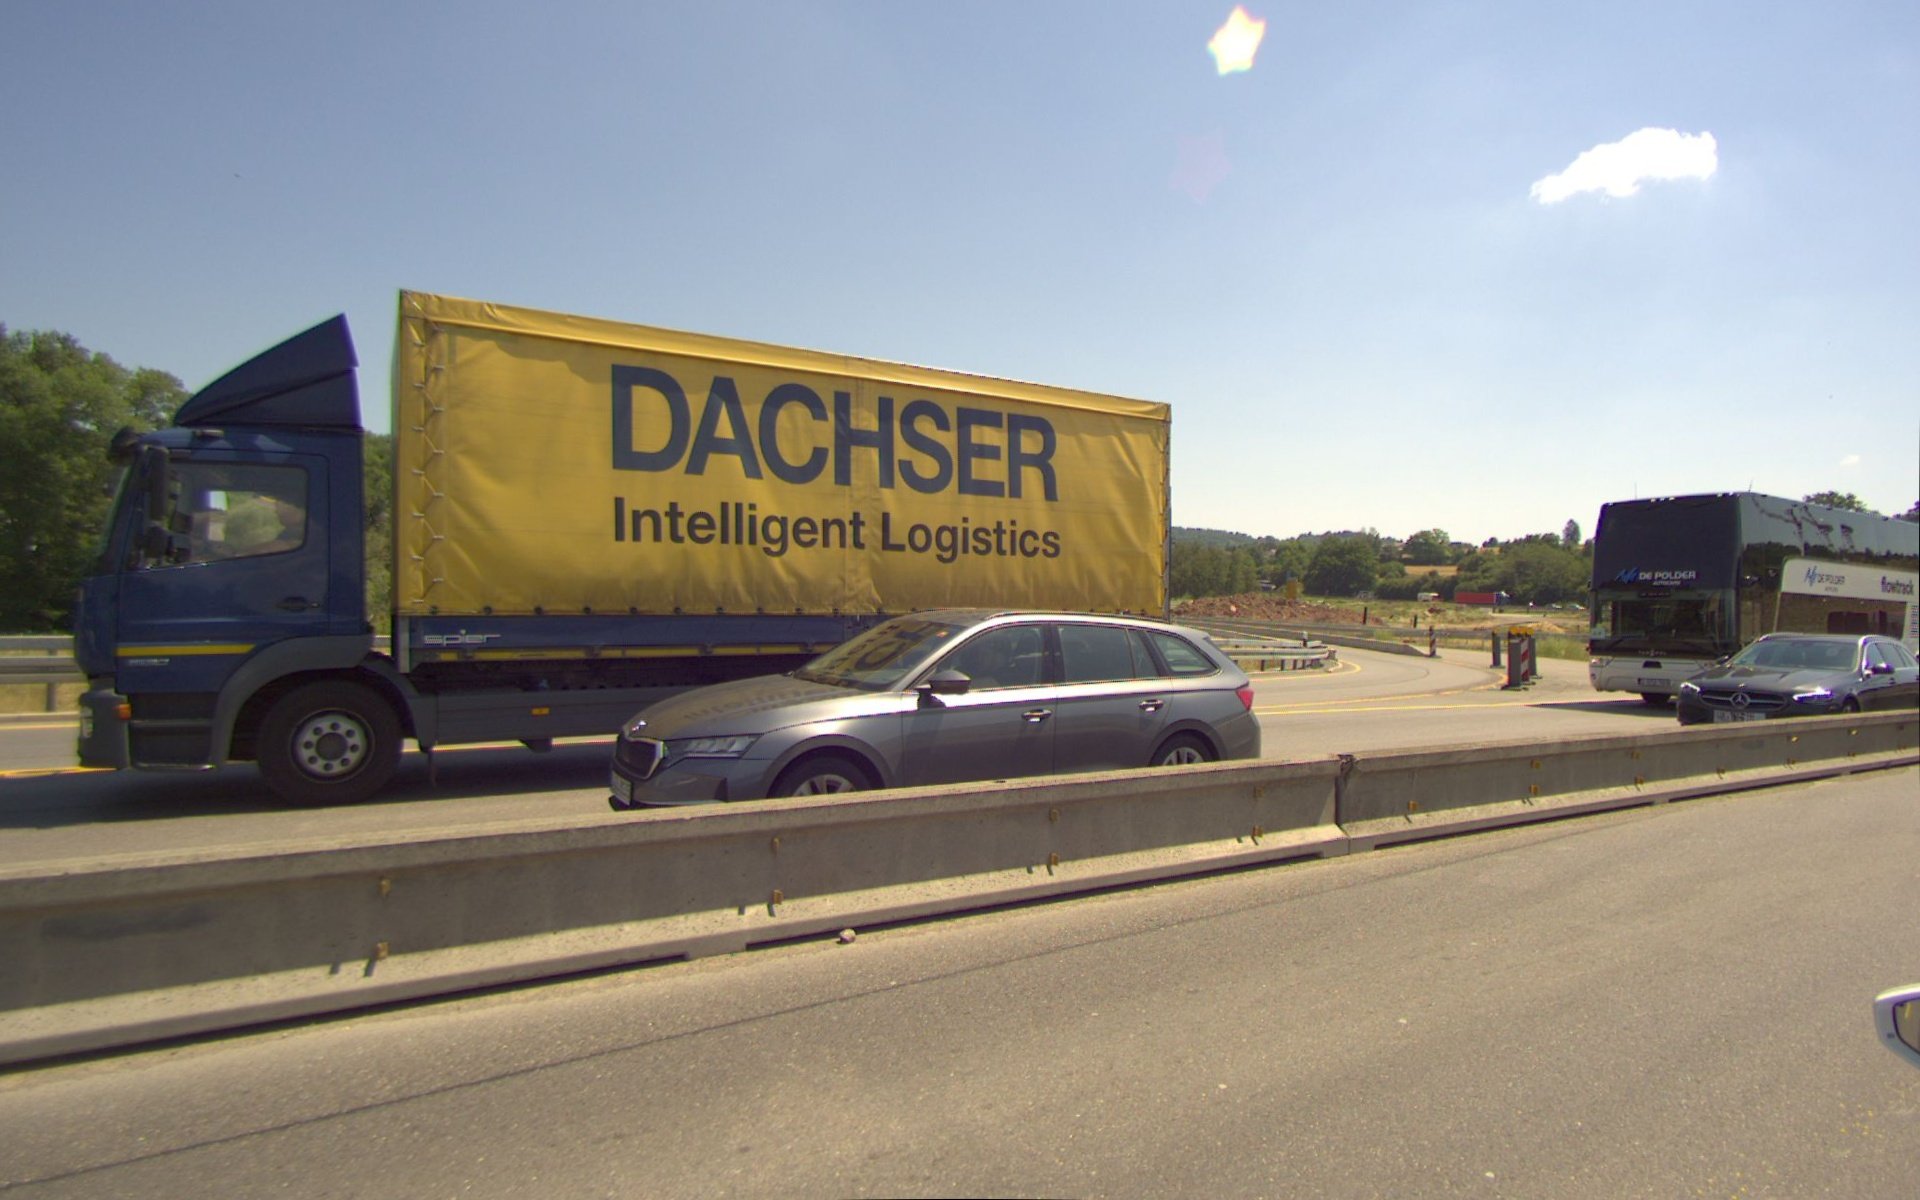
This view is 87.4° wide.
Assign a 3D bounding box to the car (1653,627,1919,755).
[{"bbox_3d":[11.999,1.154,14.179,4.874,1.463,1.828,1,0,-32],"label":"car"}]

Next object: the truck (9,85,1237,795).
[{"bbox_3d":[-1.950,-0.796,9.684,9.962,4.207,2.789,2,-2,-31],"label":"truck"}]

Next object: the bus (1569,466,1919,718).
[{"bbox_3d":[18.676,0.045,22.160,14.313,4.320,2.725,2,0,-32],"label":"bus"}]

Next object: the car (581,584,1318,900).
[{"bbox_3d":[0.119,0.755,6.916,4.851,1.513,1.849,1,-2,-32],"label":"car"}]

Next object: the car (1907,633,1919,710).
[{"bbox_3d":[20.640,1.410,19.567,5.033,1.442,1.908,1,1,-32],"label":"car"}]
